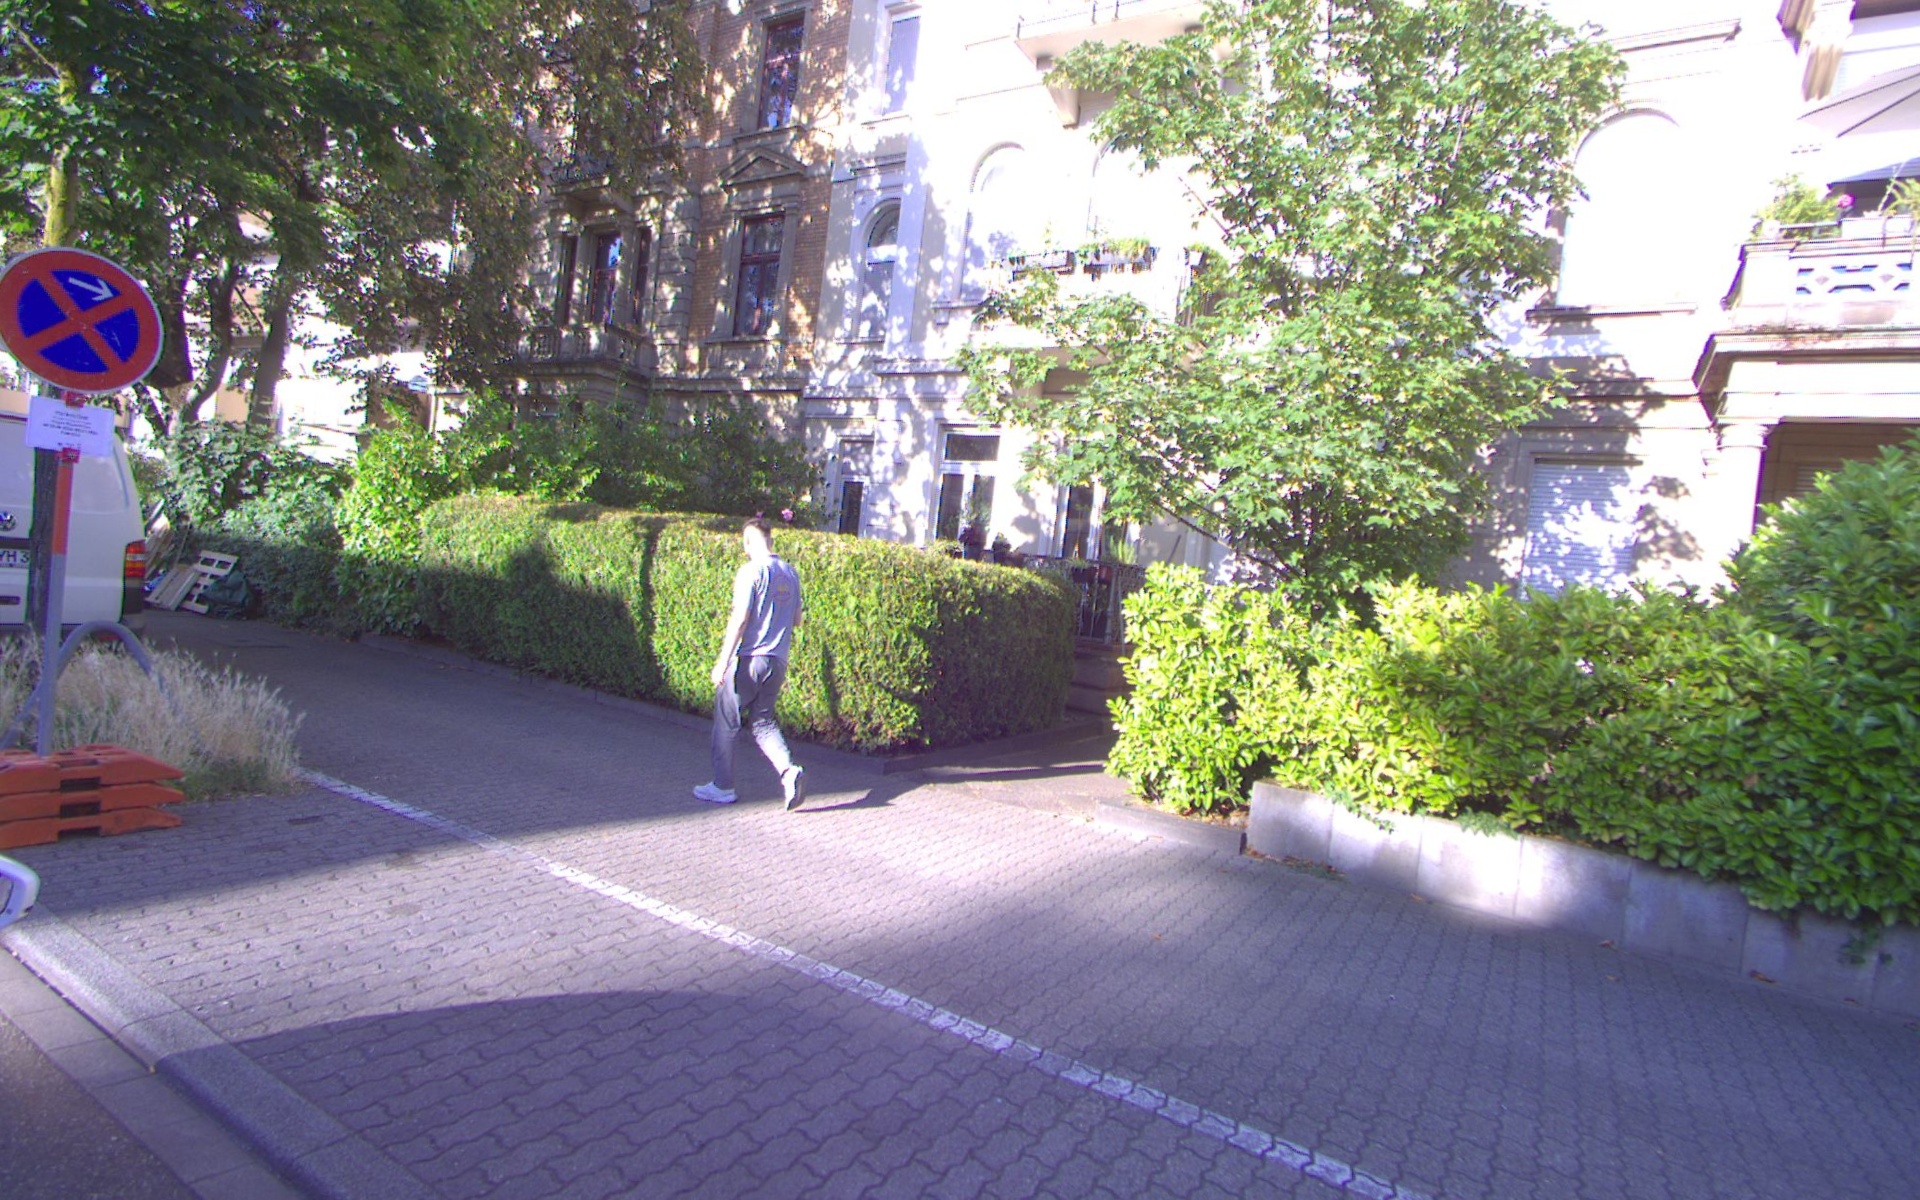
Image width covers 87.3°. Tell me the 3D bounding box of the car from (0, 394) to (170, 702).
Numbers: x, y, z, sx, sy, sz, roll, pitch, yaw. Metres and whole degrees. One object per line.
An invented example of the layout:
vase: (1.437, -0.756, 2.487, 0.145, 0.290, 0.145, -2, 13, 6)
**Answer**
car: (-8.636, -0.584, 8.108, 4.562, 2.129, 1.906, 7, 0, 30)

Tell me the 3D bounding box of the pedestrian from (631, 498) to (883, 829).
pedestrian: (-1.242, 0.354, 6.216, 1.070, 1.796, 0.822, 7, 1, 28)
